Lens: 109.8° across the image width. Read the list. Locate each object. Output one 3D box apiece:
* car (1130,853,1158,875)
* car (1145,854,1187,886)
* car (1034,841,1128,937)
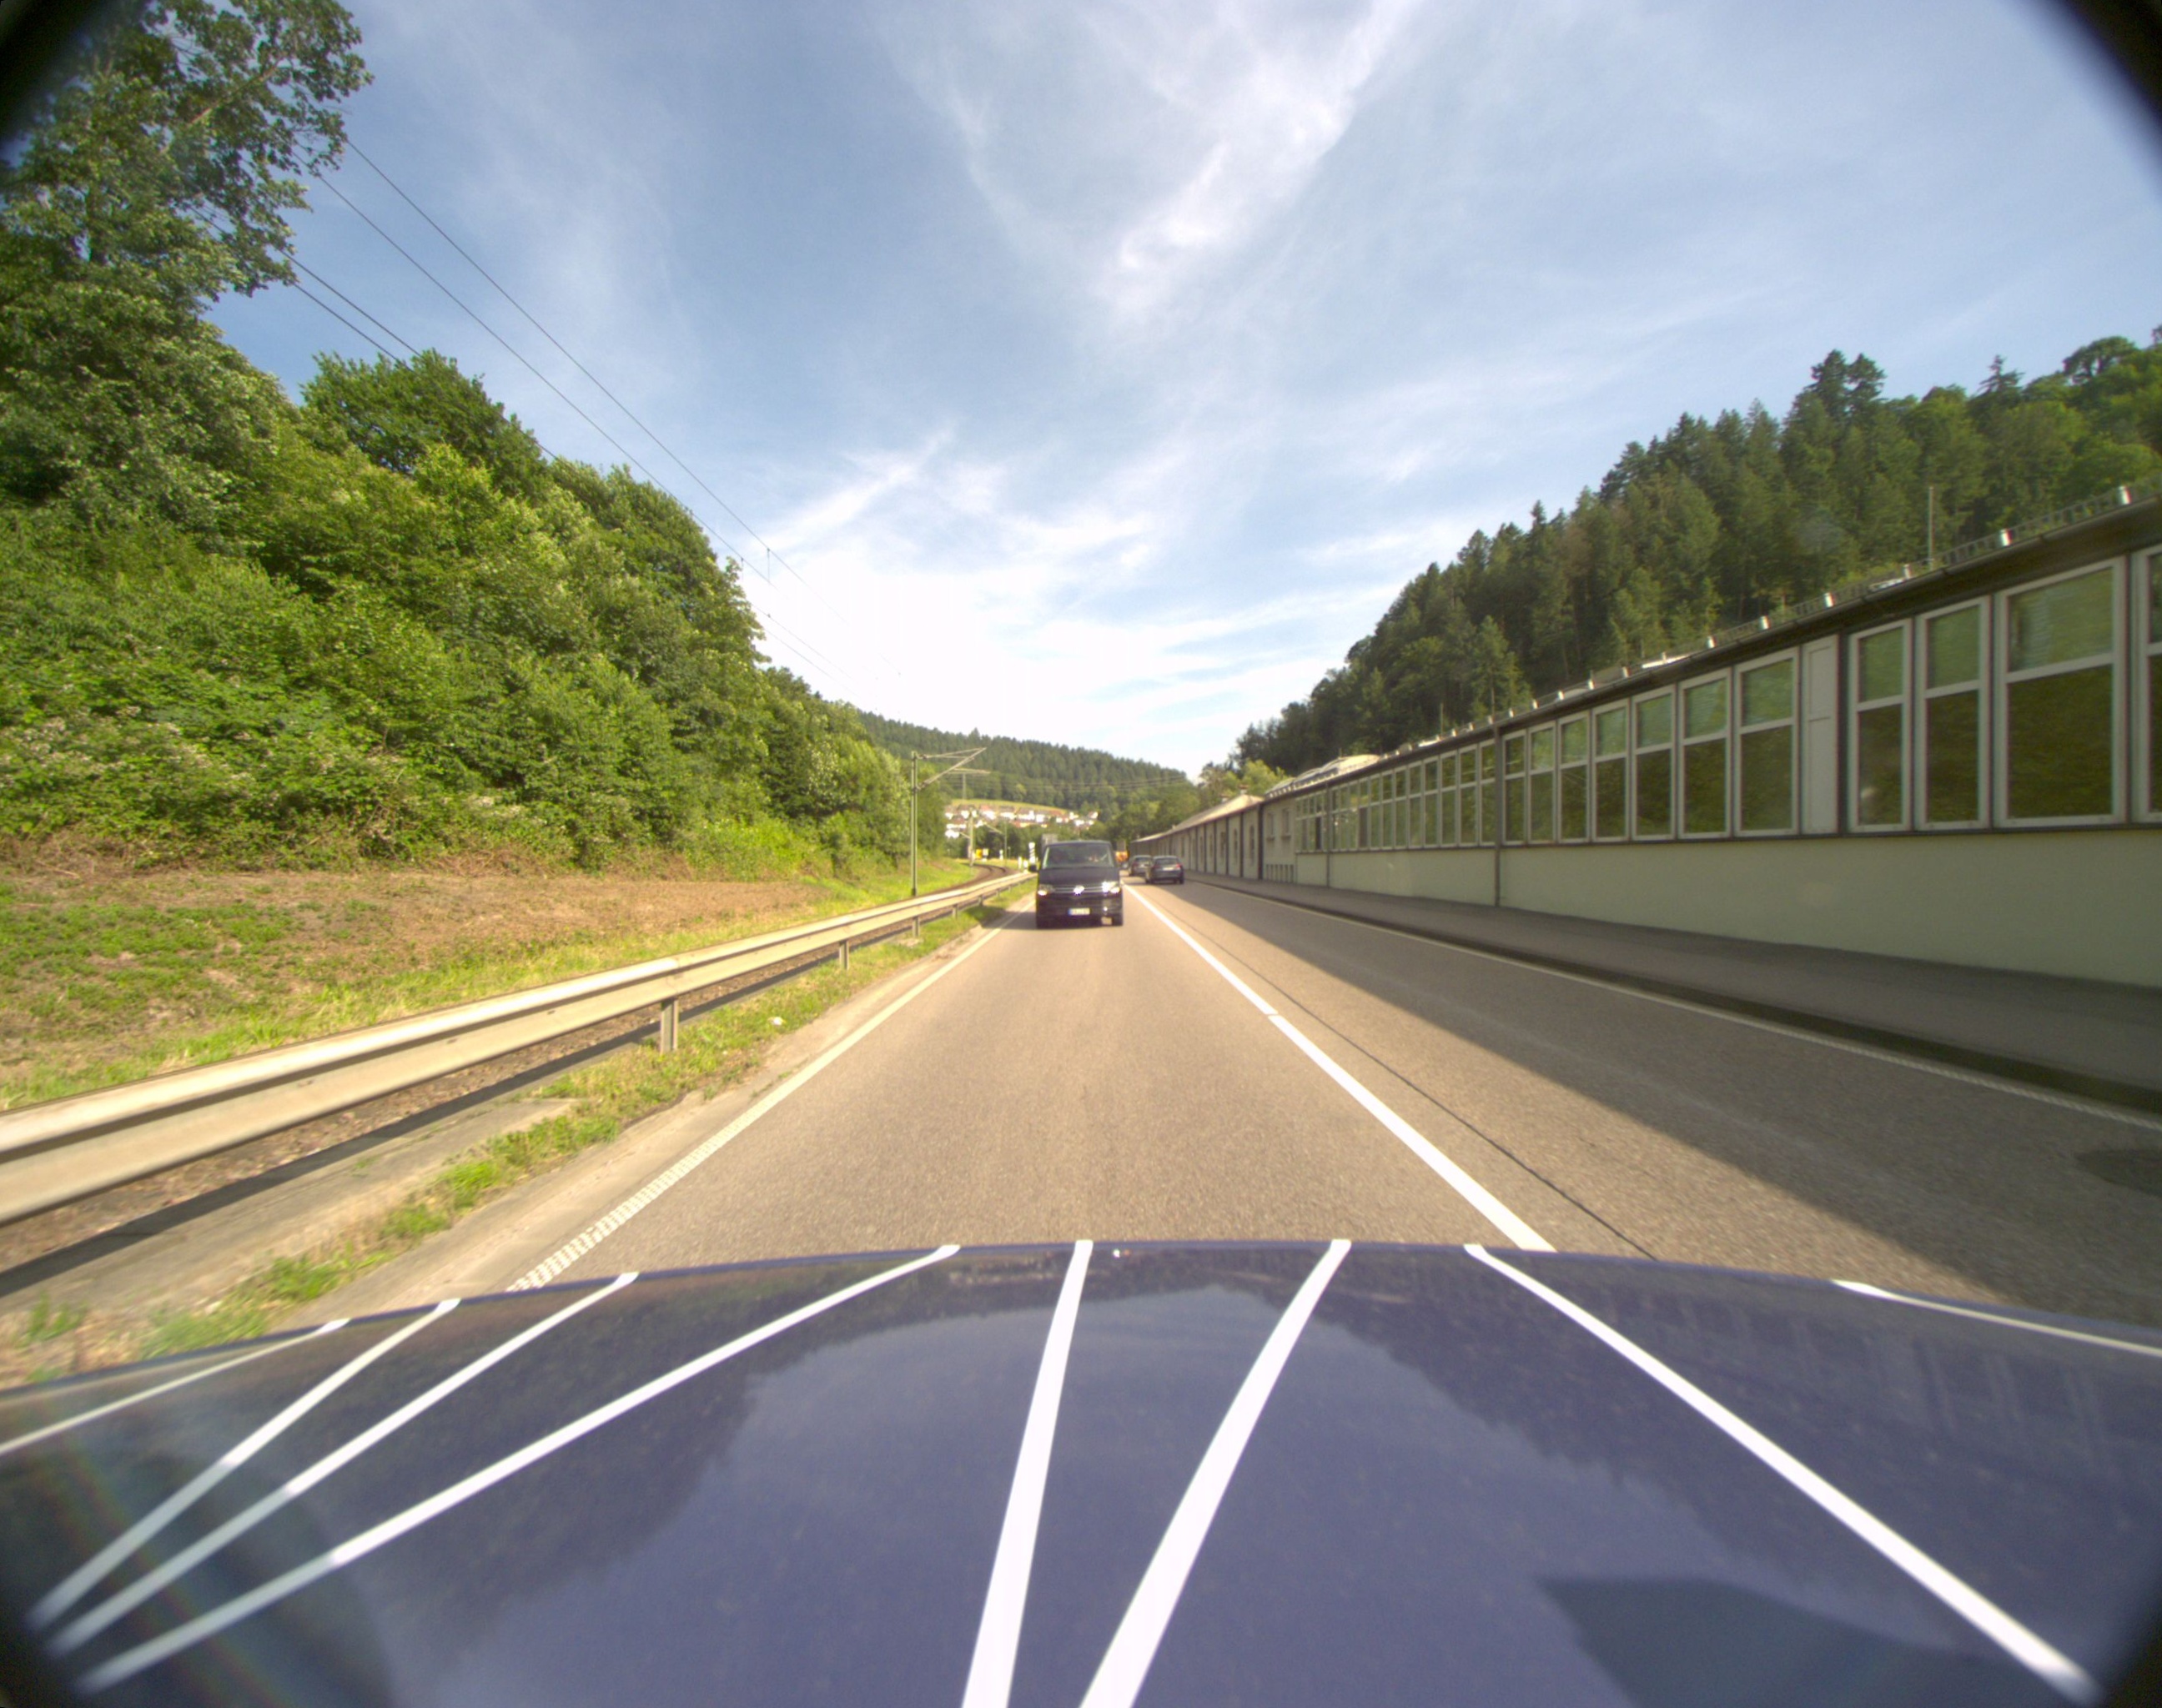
[{"bbox_3d":[4.577,0.703,55.883,1.723,1.505,4.198,-2,0,1],"label":"car"},{"bbox_3d":[4.397,0.796,39.813,1.778,1.482,4.051,-2,0,1],"label":"car"},{"bbox_3d":[-0.092,0.717,18.217,1.901,1.927,5.187,-1,0,-2],"label":"car"}]
